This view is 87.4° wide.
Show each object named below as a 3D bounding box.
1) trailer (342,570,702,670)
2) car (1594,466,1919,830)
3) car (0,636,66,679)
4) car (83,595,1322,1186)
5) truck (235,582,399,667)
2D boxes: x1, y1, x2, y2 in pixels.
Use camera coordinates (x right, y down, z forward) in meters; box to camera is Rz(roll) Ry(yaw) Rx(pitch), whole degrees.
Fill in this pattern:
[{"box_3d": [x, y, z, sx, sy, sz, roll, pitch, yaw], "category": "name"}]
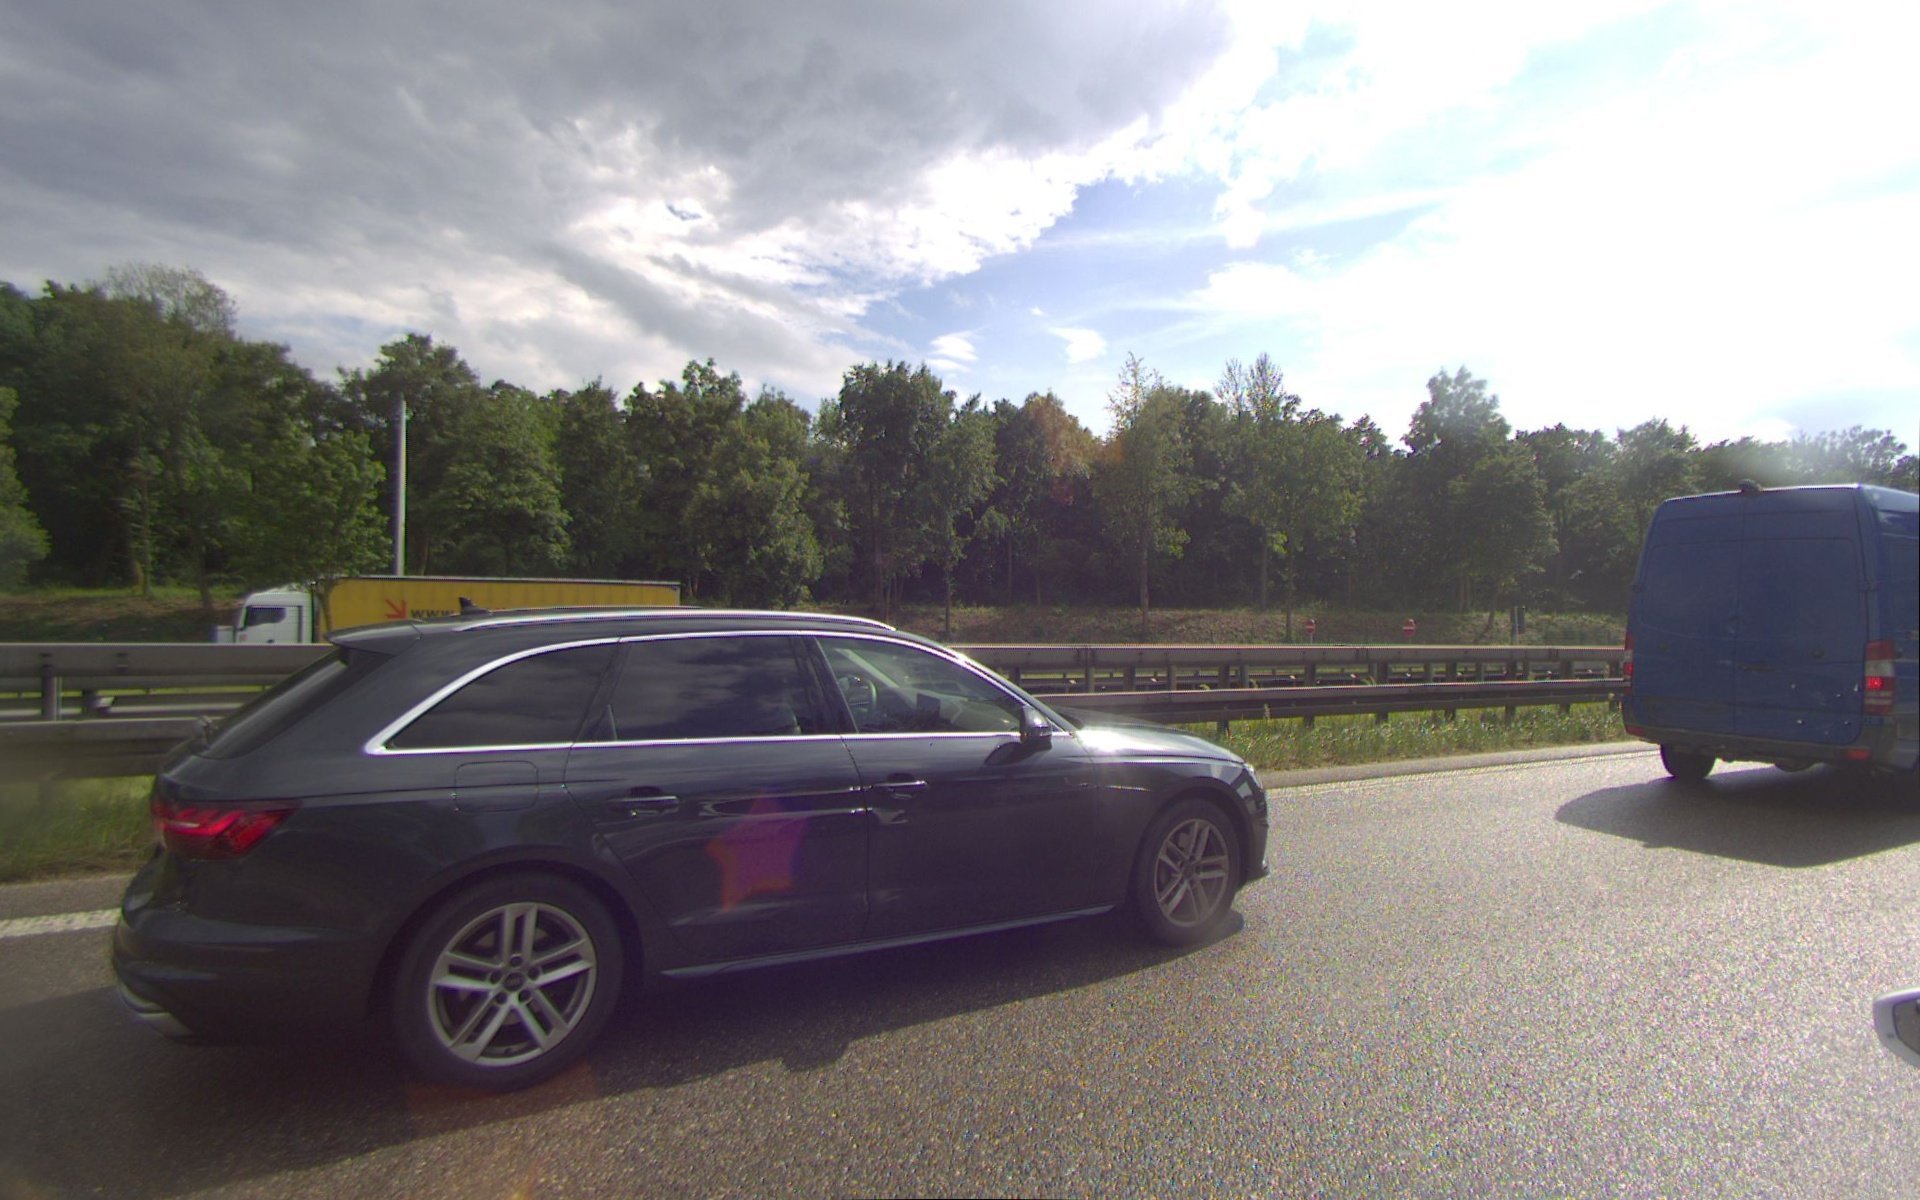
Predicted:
[{"box_3d": [-17.833, 0.906, 42.002, 13.443, 3.744, 1.992, 2, 0, -18], "category": "trailer"}, {"box_3d": [8.731, 0.422, 9.726, 5.710, 2.684, 2.006, 2, 0, -31], "category": "car"}, {"box_3d": [-35.341, 2.083, 36.384, 3.943, 1.523, 1.891, 1, -2, -23], "category": "car"}, {"box_3d": [-0.637, 0.757, 4.310, 4.416, 1.430, 1.711, 2, -1, -31], "category": "car"}, {"box_3d": [-25.169, 0.962, 39.527, 4.996, 3.139, 1.974, 2, 0, -18], "category": "truck"}]
